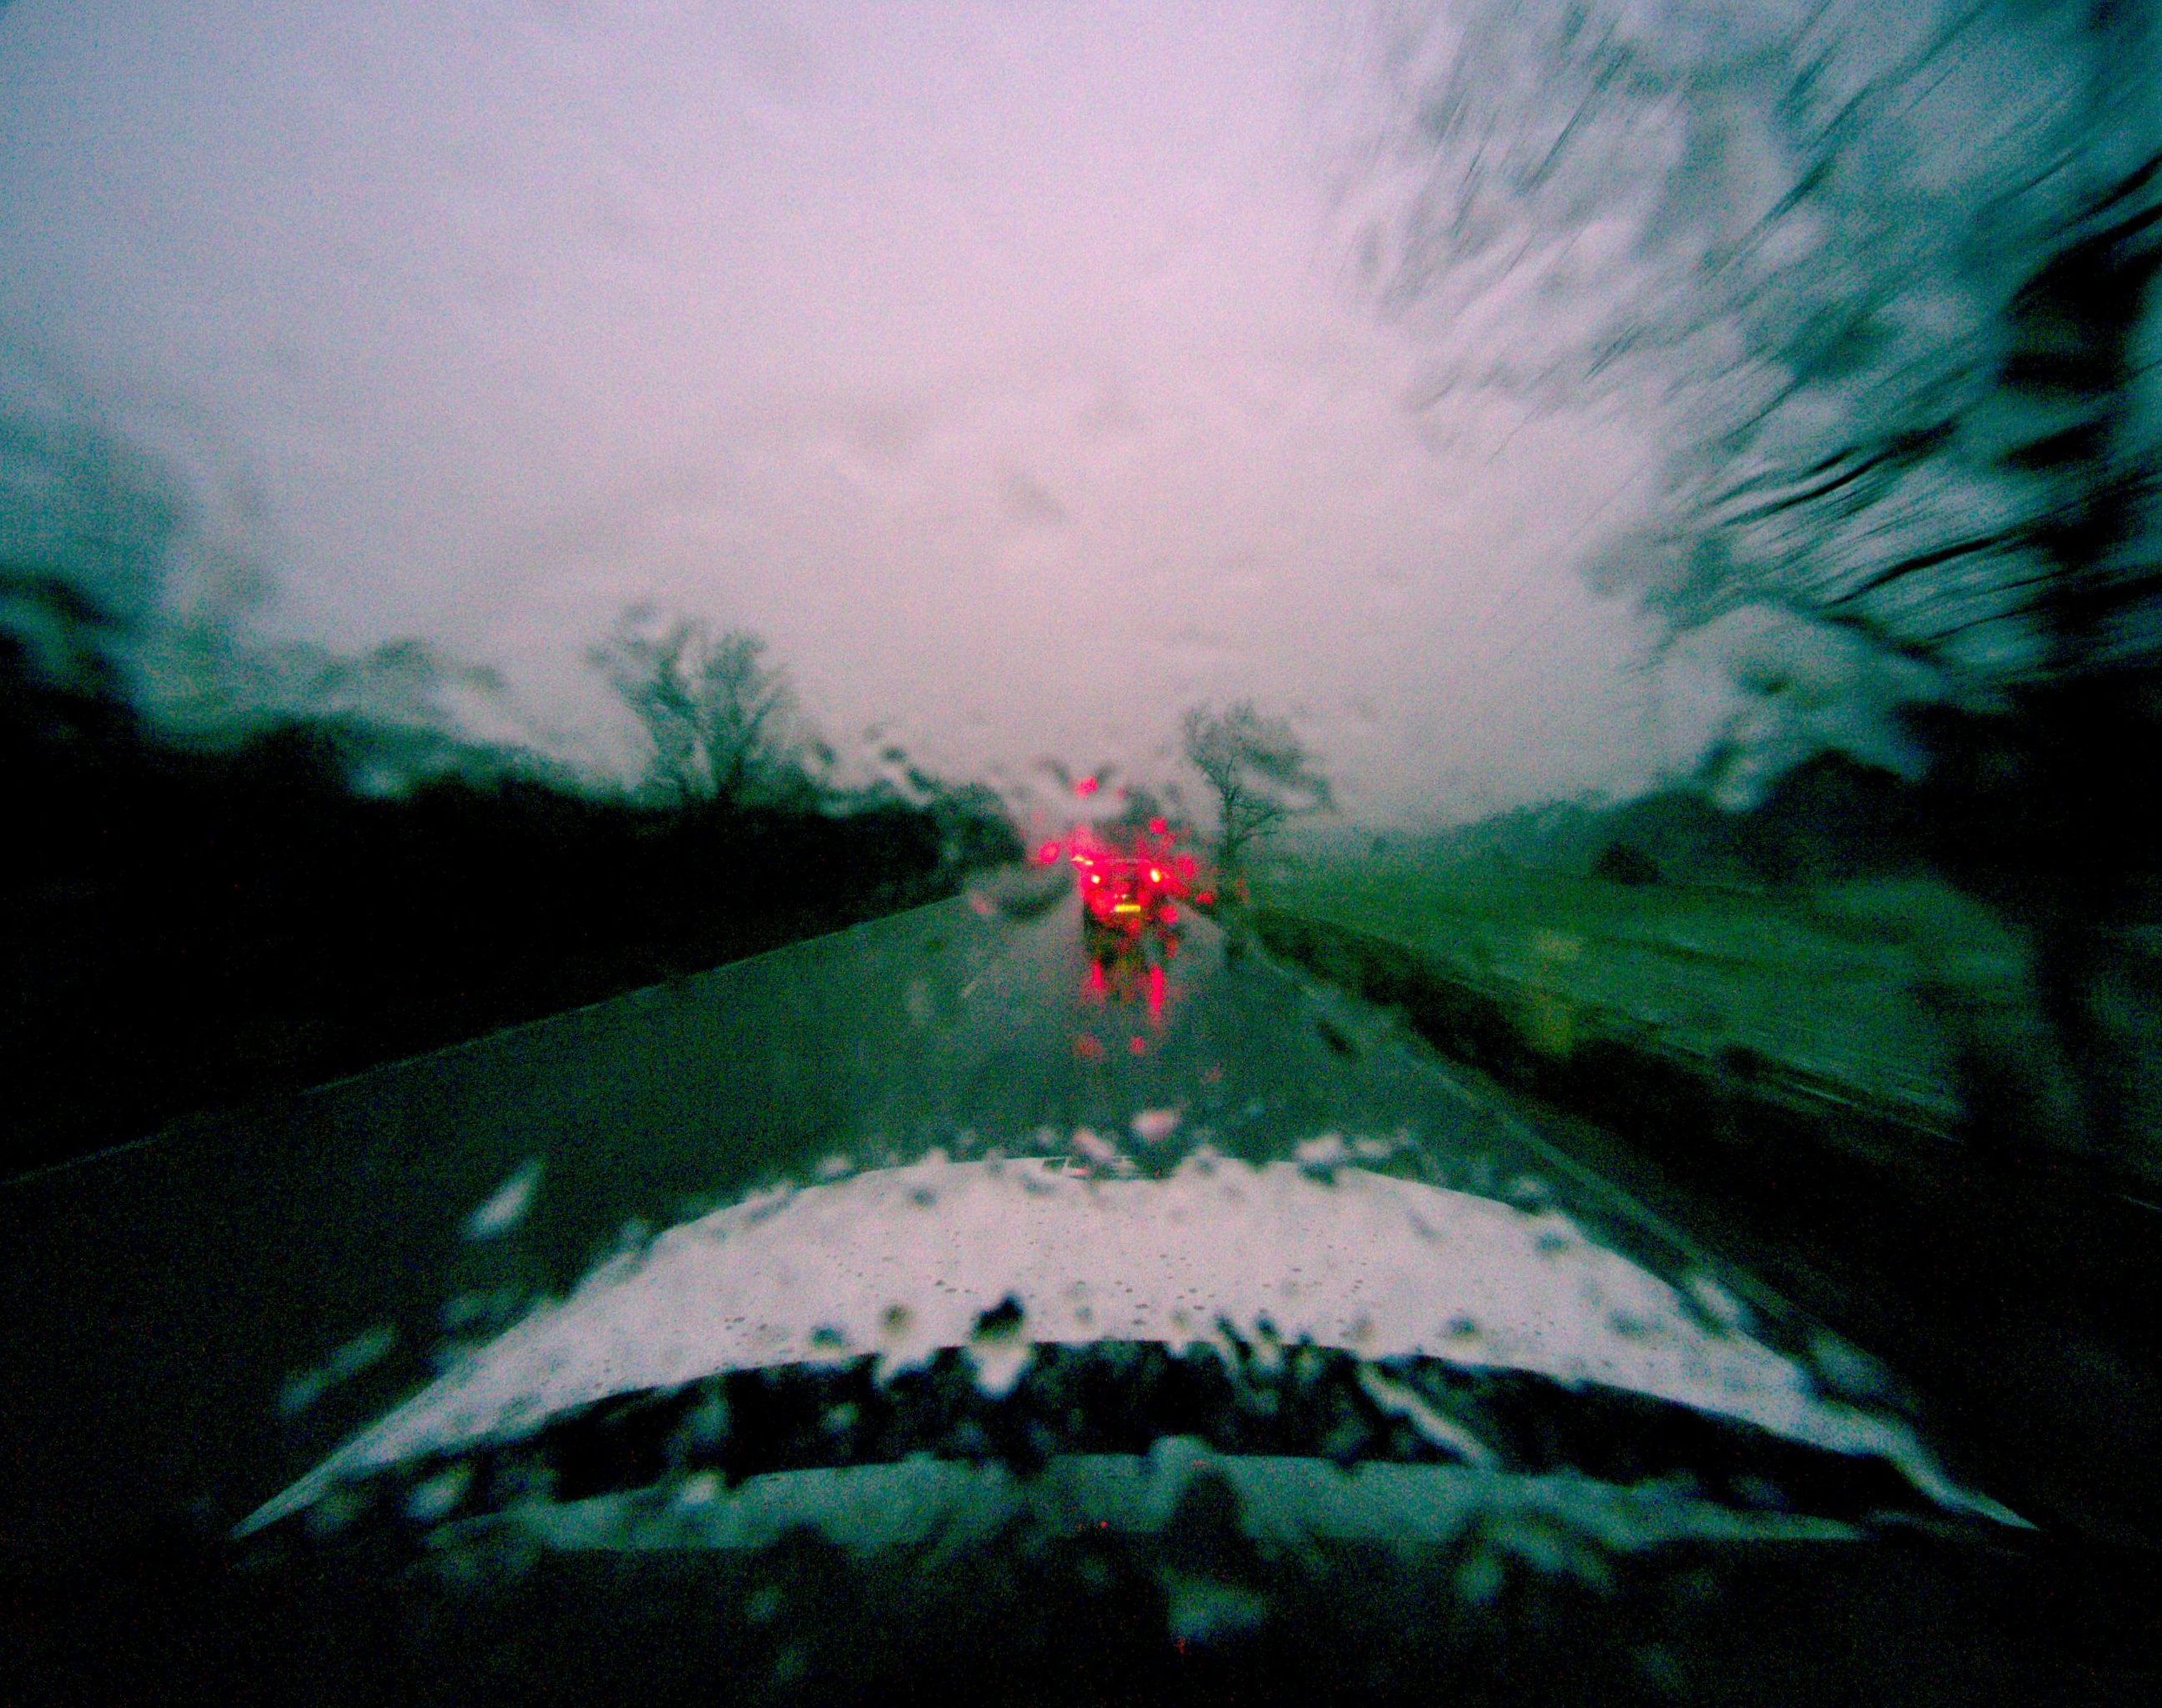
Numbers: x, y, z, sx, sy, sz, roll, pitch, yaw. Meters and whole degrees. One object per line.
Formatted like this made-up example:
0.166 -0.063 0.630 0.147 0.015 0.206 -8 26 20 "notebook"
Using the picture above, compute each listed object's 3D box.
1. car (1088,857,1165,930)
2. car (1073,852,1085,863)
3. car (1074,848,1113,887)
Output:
1.031 0.783 17.525 1.493 1.398 3.204 -1 0 5 "car"
-0.373 0.599 140.237 1.855 1.700 4.471 -1 0 3 "car"
0.730 0.697 44.297 1.843 2.013 4.006 -1 0 5 "car"
